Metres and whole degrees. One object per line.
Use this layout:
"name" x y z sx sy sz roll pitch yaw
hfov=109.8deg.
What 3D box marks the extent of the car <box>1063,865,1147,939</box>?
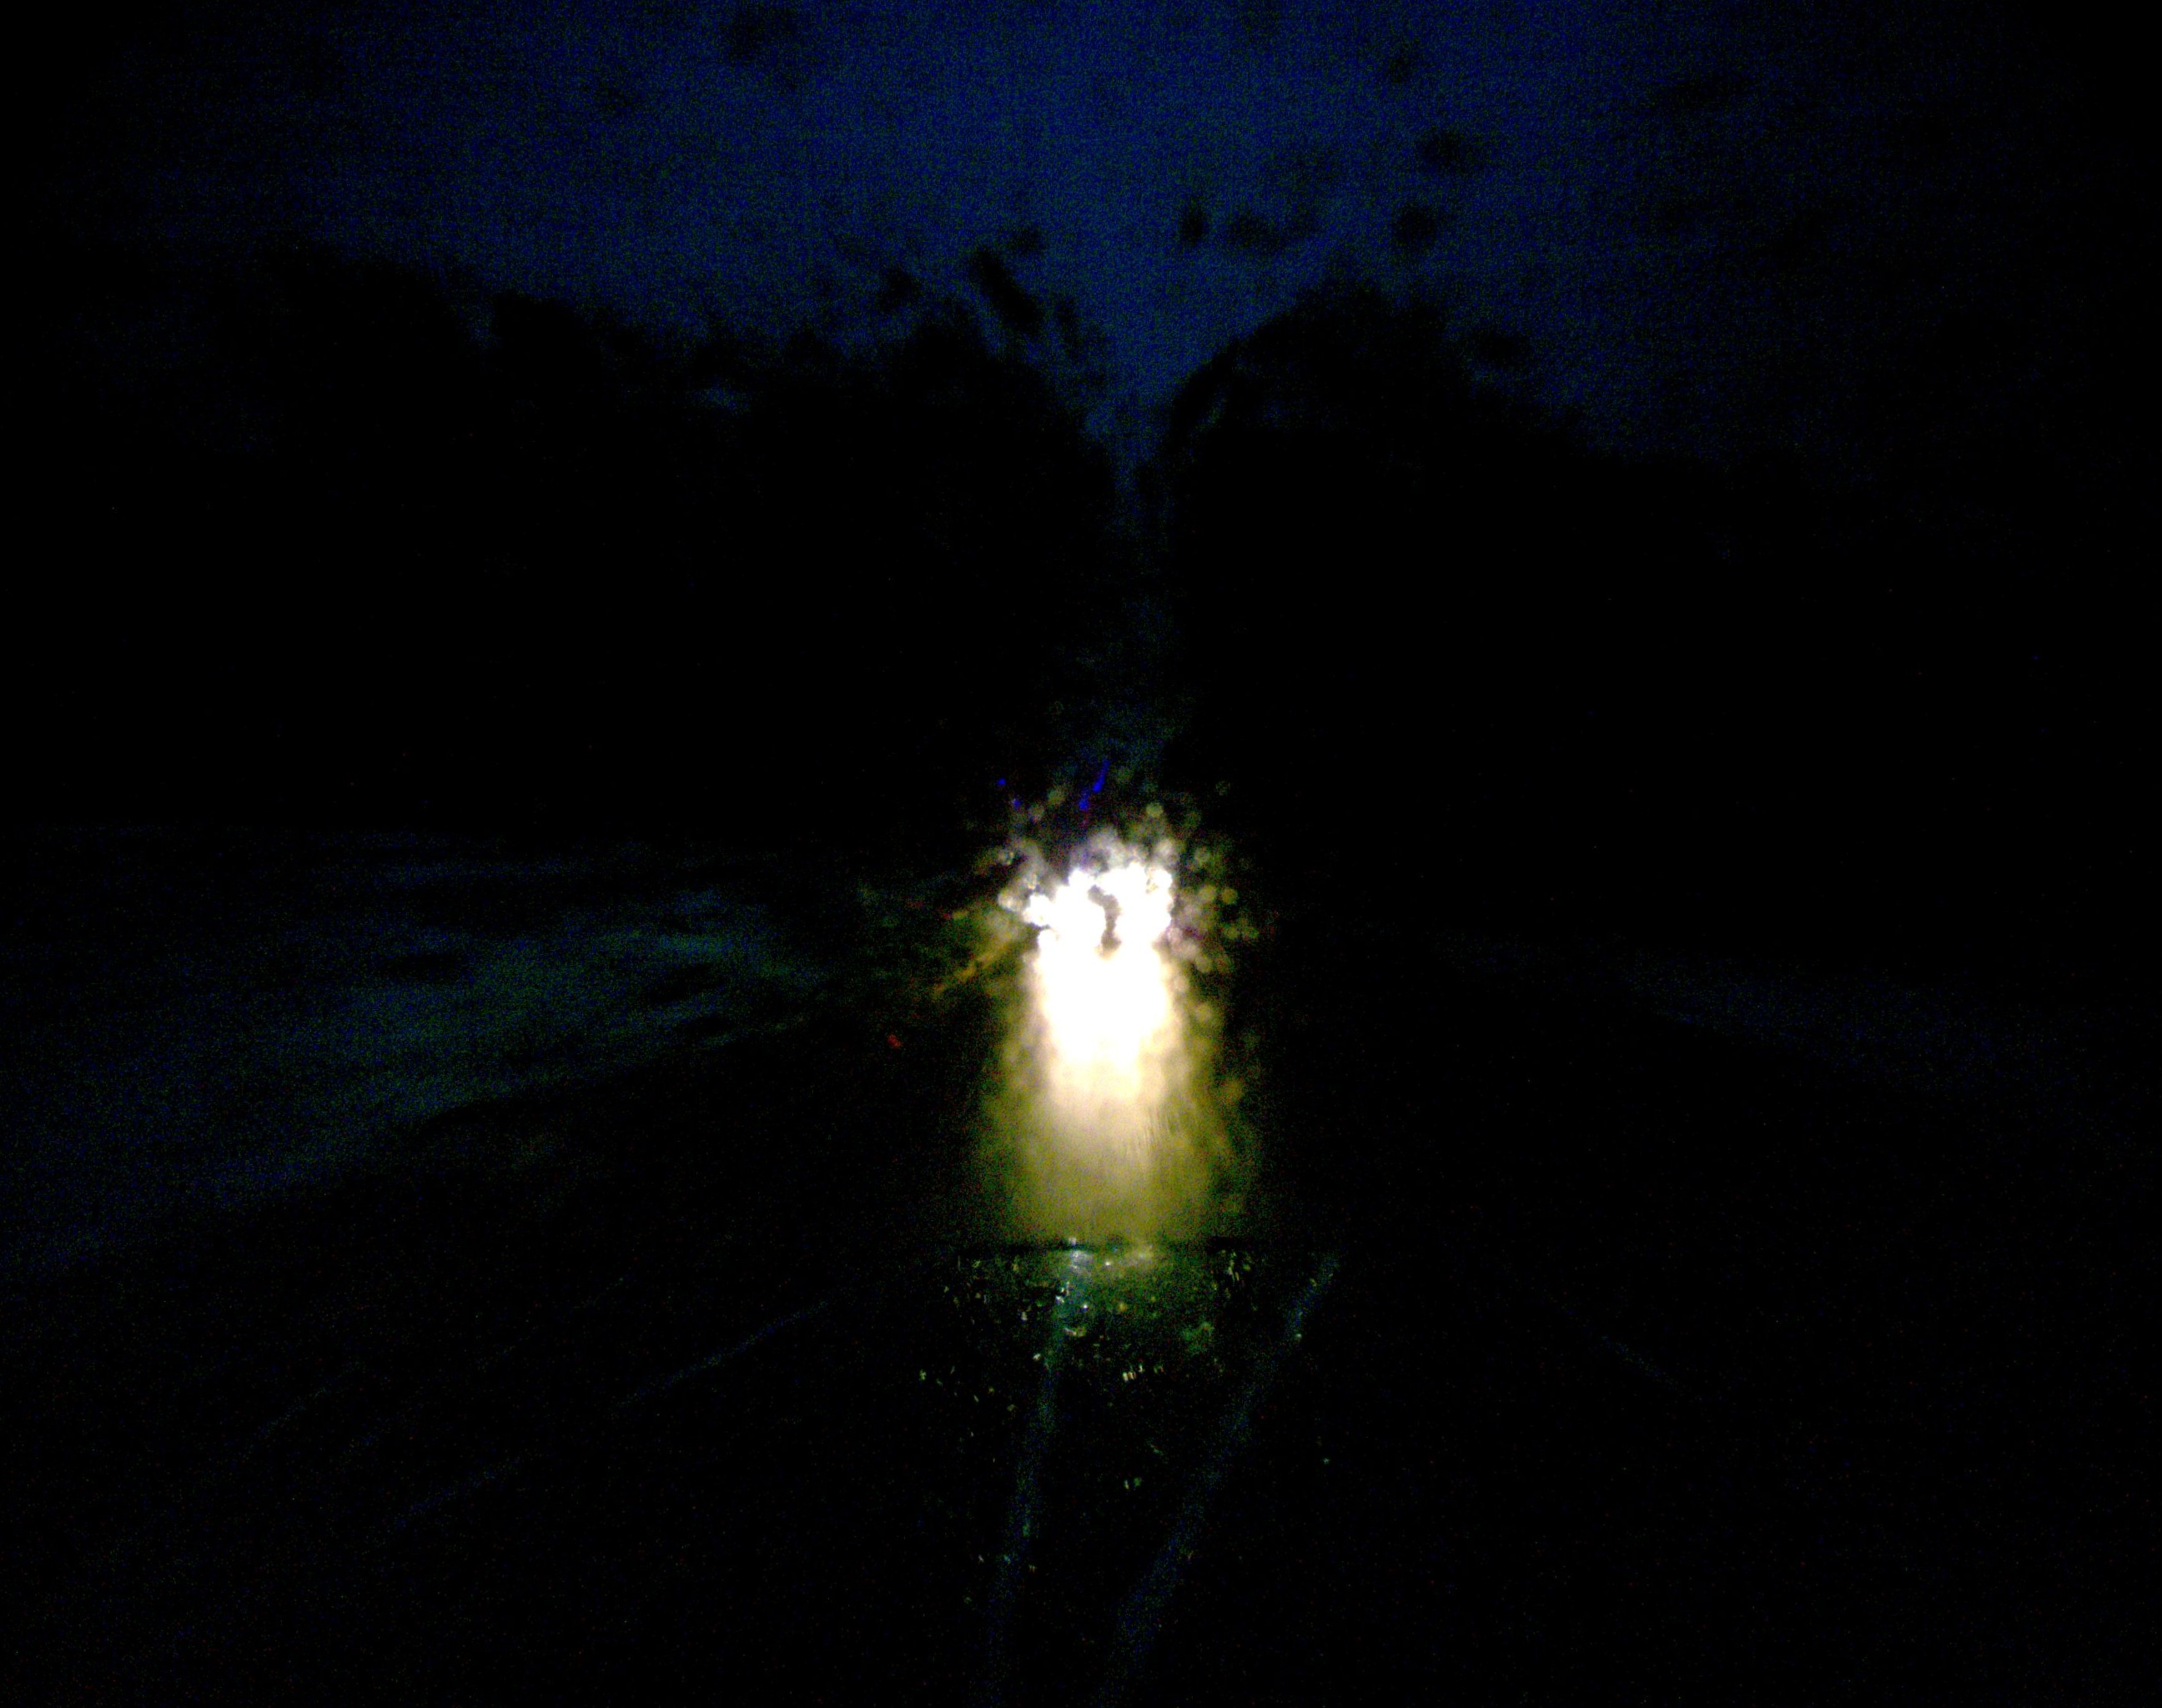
"car" 0.625 1.008 17.375 1.649 1.446 3.682 -2 -1 4
